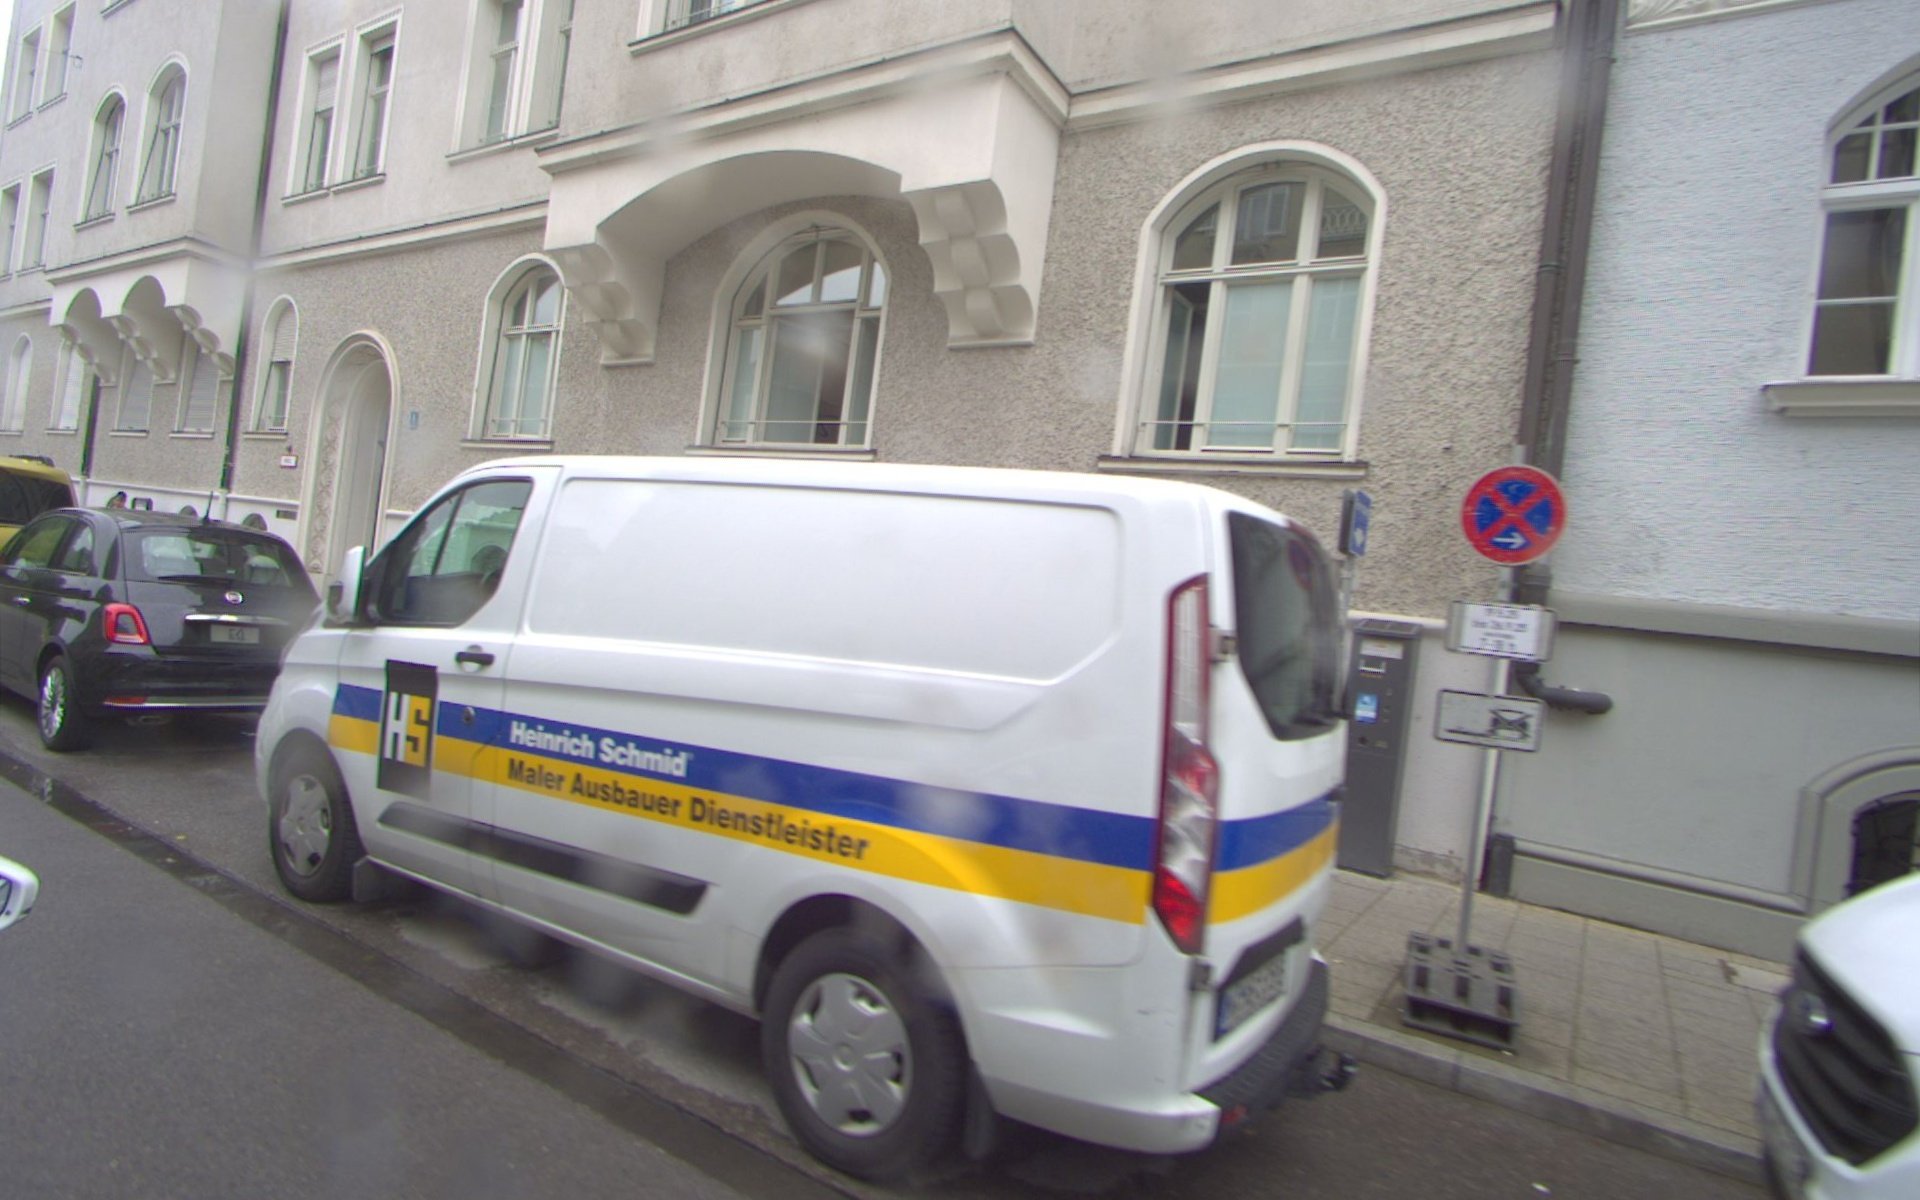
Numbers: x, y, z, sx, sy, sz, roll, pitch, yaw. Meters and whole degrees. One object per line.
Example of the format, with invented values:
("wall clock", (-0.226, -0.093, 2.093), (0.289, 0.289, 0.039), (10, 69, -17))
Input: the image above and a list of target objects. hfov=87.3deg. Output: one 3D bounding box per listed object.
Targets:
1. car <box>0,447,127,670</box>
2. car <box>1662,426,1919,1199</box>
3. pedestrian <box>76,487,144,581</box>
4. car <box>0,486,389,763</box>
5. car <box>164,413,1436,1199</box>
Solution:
("car", (-10.197, -0.606, 9.825), (4.744, 1.875, 1.852), (7, -1, 35))
("car", (4.040, 1.014, 1.188), (4.908, 2.038, 1.963), (7, 0, 30))
("pedestrian", (-16.747, -1.275, 19.843), (0.723, 1.760, 0.691), (3, 1, -13))
("car", (-6.042, 0.057, 7.345), (3.722, 1.502, 1.633), (7, 0, 33))
("car", (-0.915, 0.456, 4.168), (4.908, 1.961, 1.963), (7, 0, 30))
